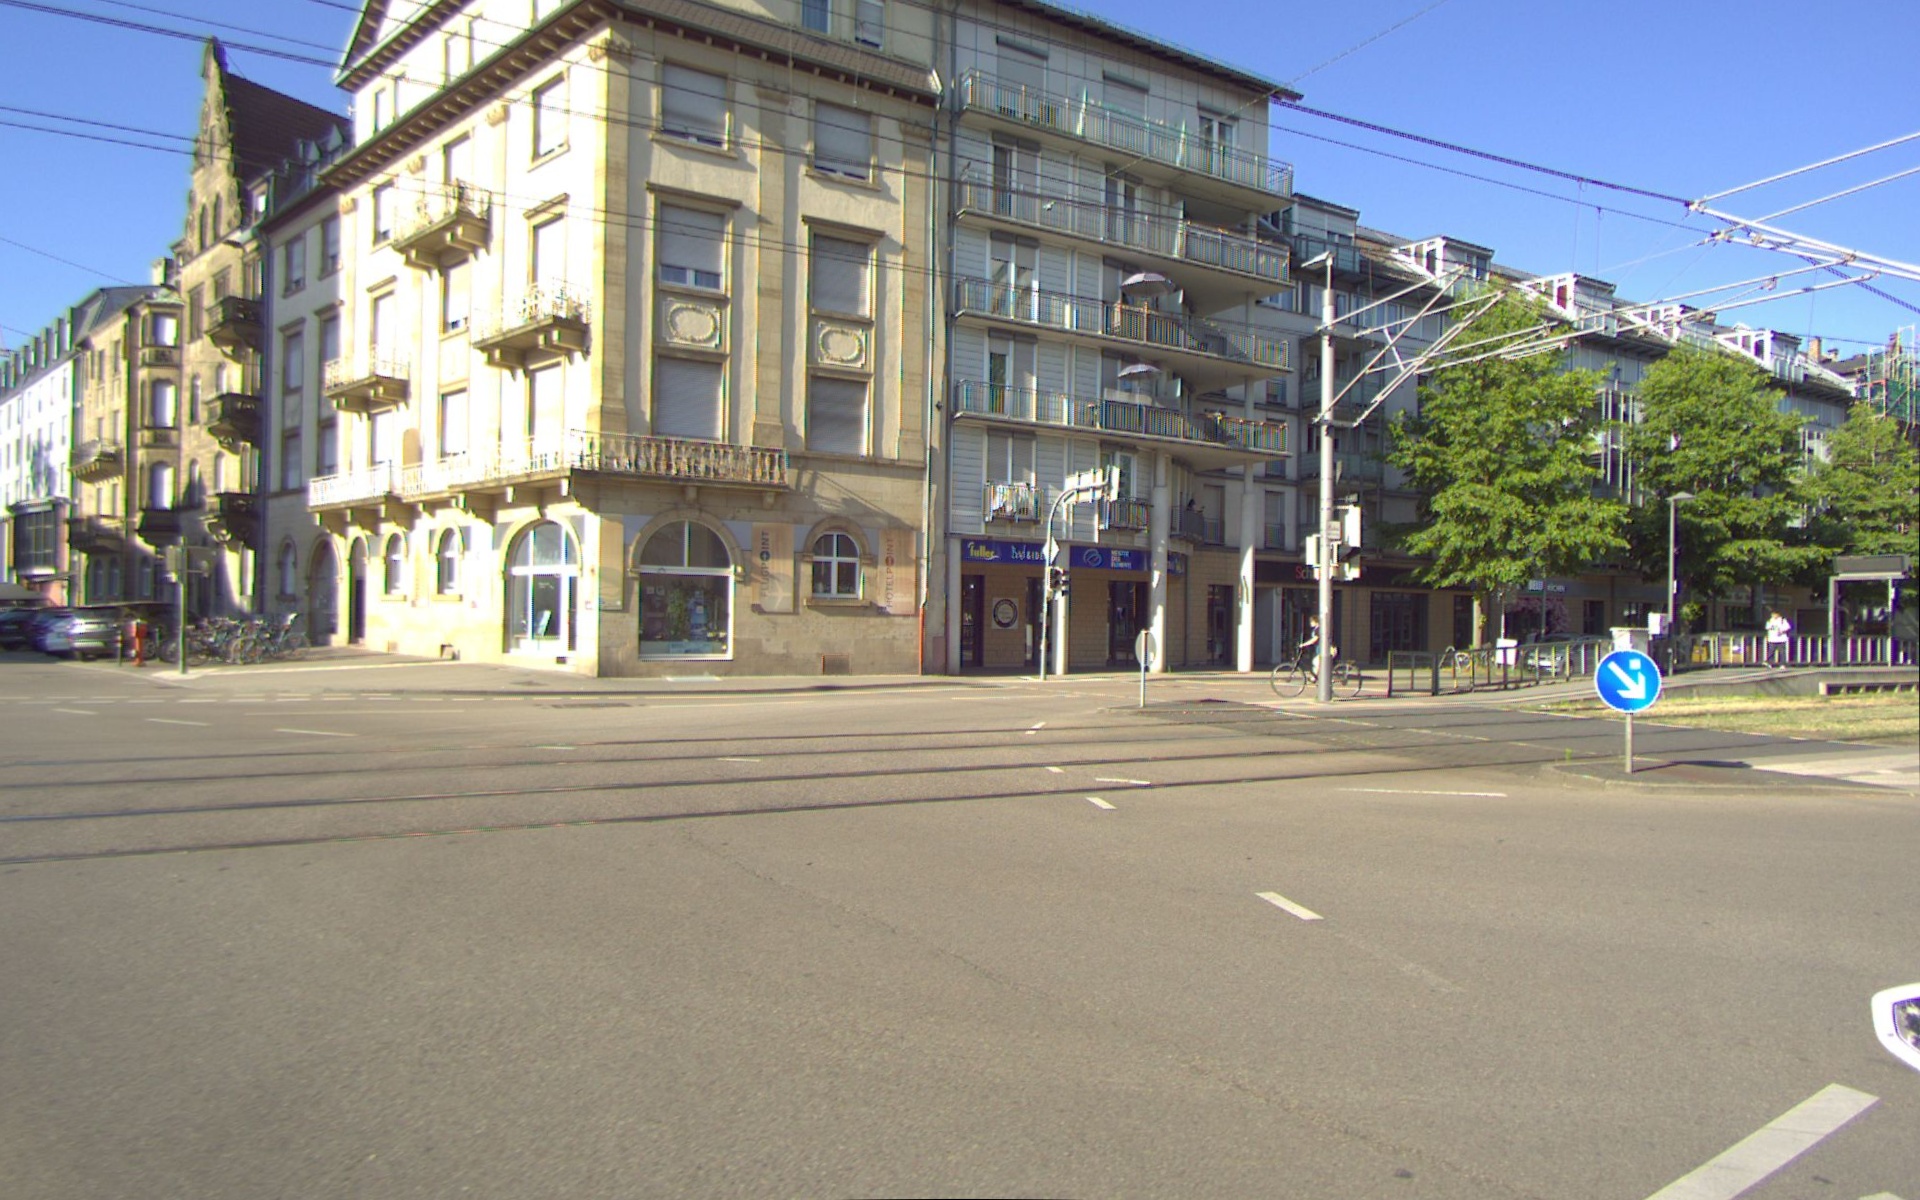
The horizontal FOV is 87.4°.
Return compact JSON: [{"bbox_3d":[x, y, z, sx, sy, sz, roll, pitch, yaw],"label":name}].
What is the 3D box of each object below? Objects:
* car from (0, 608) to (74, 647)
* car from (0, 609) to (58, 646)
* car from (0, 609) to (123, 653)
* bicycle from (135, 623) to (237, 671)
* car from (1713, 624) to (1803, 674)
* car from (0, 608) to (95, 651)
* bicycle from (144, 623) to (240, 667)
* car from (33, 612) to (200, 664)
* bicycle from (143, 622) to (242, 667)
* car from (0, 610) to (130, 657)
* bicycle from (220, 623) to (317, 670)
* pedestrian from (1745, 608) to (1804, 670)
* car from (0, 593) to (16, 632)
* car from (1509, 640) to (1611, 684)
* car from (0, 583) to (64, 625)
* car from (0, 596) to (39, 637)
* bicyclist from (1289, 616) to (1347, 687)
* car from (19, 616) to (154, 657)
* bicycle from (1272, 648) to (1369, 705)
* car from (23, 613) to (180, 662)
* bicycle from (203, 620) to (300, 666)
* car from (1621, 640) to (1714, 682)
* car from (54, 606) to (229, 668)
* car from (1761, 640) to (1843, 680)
[{"bbox_3d":[-40.647,1.199,43.016,1.812,1.541,3.999,-2,1,-1],"label":"car"},{"bbox_3d":[-42.750,1.240,44.476,1.811,1.541,4.001,-2,1,3],"label":"car"},{"bbox_3d":[-36.079,1.203,40.191,1.812,1.541,3.999,-2,1,-1],"label":"car"},{"bbox_3d":[-21.029,1.258,27.334,0.545,1.206,2.119,3,1,36],"label":"bicycle"},{"bbox_3d":[37.783,2.338,47.575,3.737,2.195,1.932,2,1,-28],"label":"car"},{"bbox_3d":[-38.236,1.201,41.342,1.812,1.541,3.999,-2,1,-1],"label":"car"},{"bbox_3d":[-21.964,1.263,28.762,0.520,1.206,2.118,3,1,38],"label":"bicycle"},{"bbox_3d":[-26.950,1.169,32.301,1.961,1.374,3.999,-2,1,-1],"label":"car"},{"bbox_3d":[-21.485,1.220,28.159,0.520,1.206,2.119,3,1,36],"label":"bicycle"},{"bbox_3d":[-33.822,1.212,37.804,1.812,1.541,3.999,-2,1,-1],"label":"car"},{"bbox_3d":[-18.967,1.247,27.592,0.520,1.206,2.119,3,1,36],"label":"bicycle"},{"bbox_3d":[21.822,1.033,26.917,0.947,1.602,0.895,2,1,-29],"label":"pedestrian"},{"bbox_3d":[-49.474,0.698,49.510,1.750,1.929,4.002,-2,1,8],"label":"car"},{"bbox_3d":[24.045,2.465,40.272,3.737,1.599,1.799,2,1,-28],"label":"car"},{"bbox_3d":[-44.669,0.198,46.875,1.750,1.929,4.002,-2,1,8],"label":"car"},{"bbox_3d":[-46.653,0.834,47.706,1.750,1.929,4.002,-2,1,8],"label":"car"},{"bbox_3d":[7.363,1.047,20.661,0.998,1.390,0.535,2,0,7],"label":"bicyclist"},{"bbox_3d":[-31.528,1.289,36.410,1.559,1.227,3.790,-2,1,-1],"label":"car"},{"bbox_3d":[7.393,1.555,20.663,1.788,1.068,0.535,2,0,7],"label":"bicycle"},{"bbox_3d":[-29.298,1.235,34.466,1.961,1.374,3.999,-2,1,-1],"label":"car"},{"bbox_3d":[-19.626,1.161,27.866,0.520,1.206,2.119,3,1,36],"label":"bicycle"},{"bbox_3d":[31.069,2.673,44.088,3.737,1.657,1.799,2,1,-28],"label":"car"},{"bbox_3d":[-24.501,1.049,30.277,1.961,1.606,3.999,-2,1,-1],"label":"car"},{"bbox_3d":[41.507,2.950,49.517,3.737,1.752,1.799,2,1,-28],"label":"car"}]
